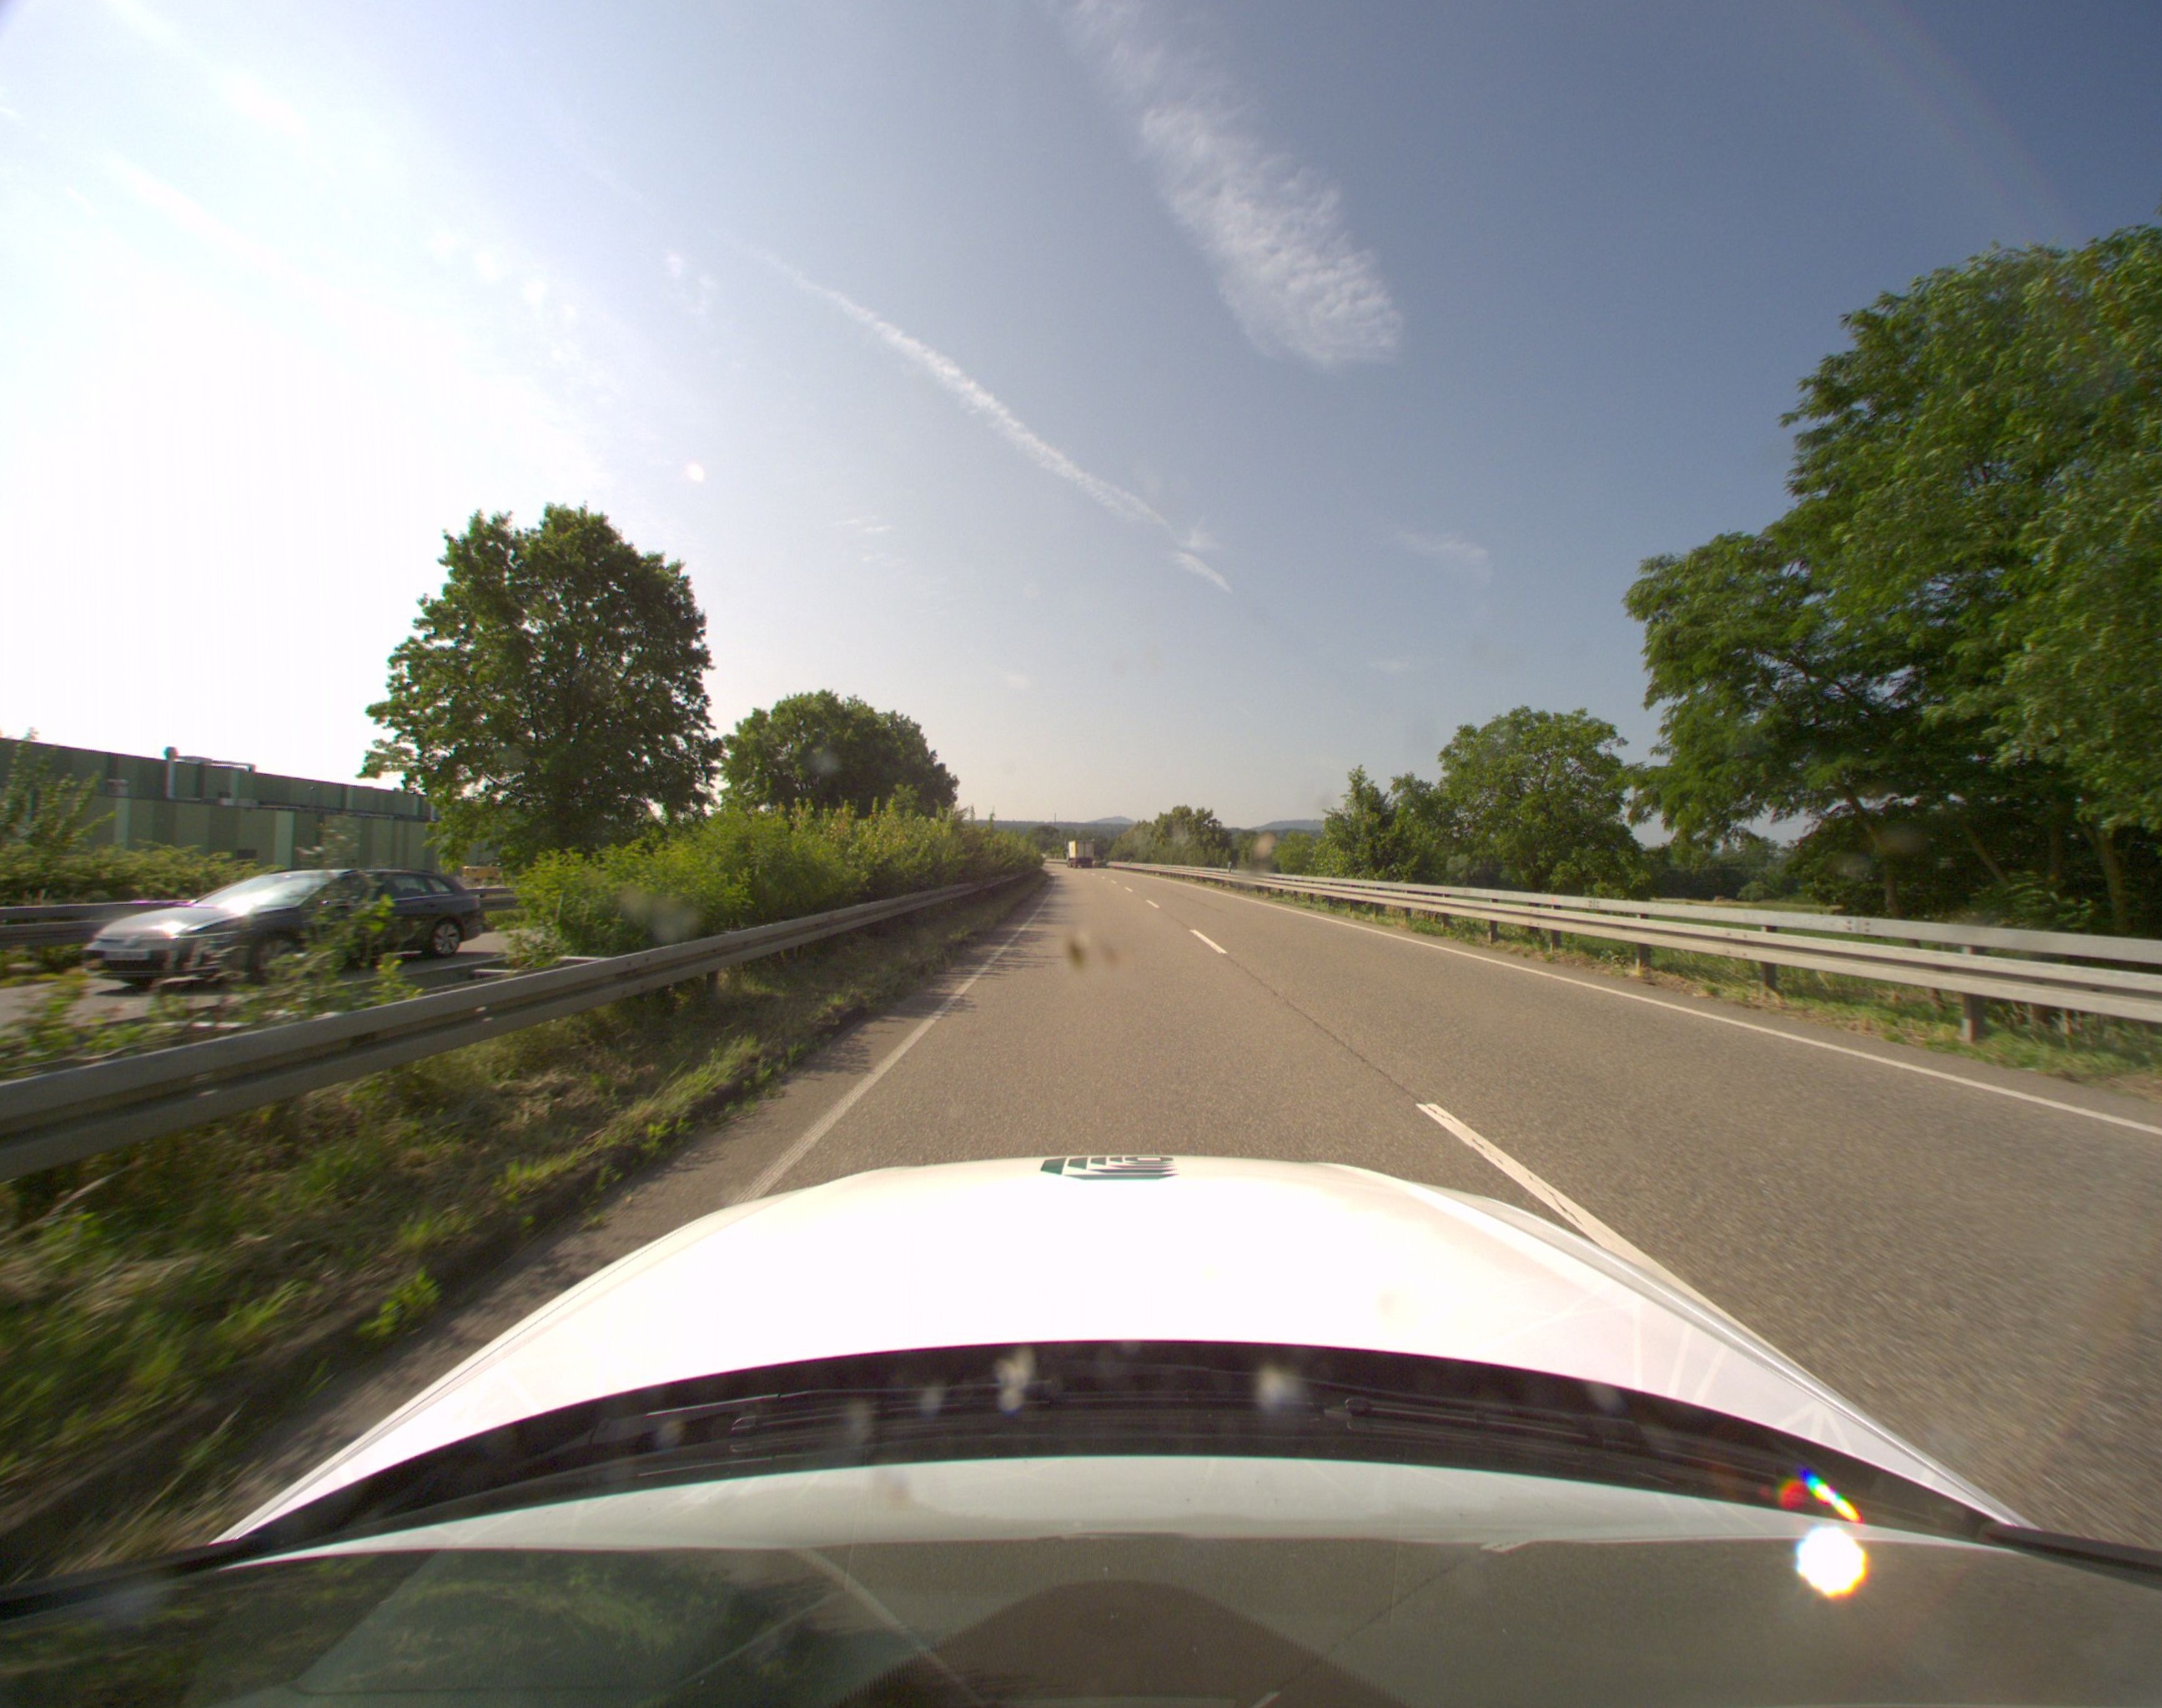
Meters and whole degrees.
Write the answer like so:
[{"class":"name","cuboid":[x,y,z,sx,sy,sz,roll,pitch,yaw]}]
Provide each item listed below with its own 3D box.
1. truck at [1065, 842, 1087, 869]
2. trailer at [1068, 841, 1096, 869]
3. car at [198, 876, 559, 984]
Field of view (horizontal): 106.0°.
[{"class":"truck","cuboid":[-0.797,0.214,122.518,2.657,3.896,5.632,0,0,-8]},{"class":"trailer","cuboid":[0.044,0.178,116.360,2.677,3.907,9.646,-1,0,-8]},{"class":"car","cuboid":[-10.975,1.089,13.328,1.774,1.351,4.679,-1,-1,1]}]
